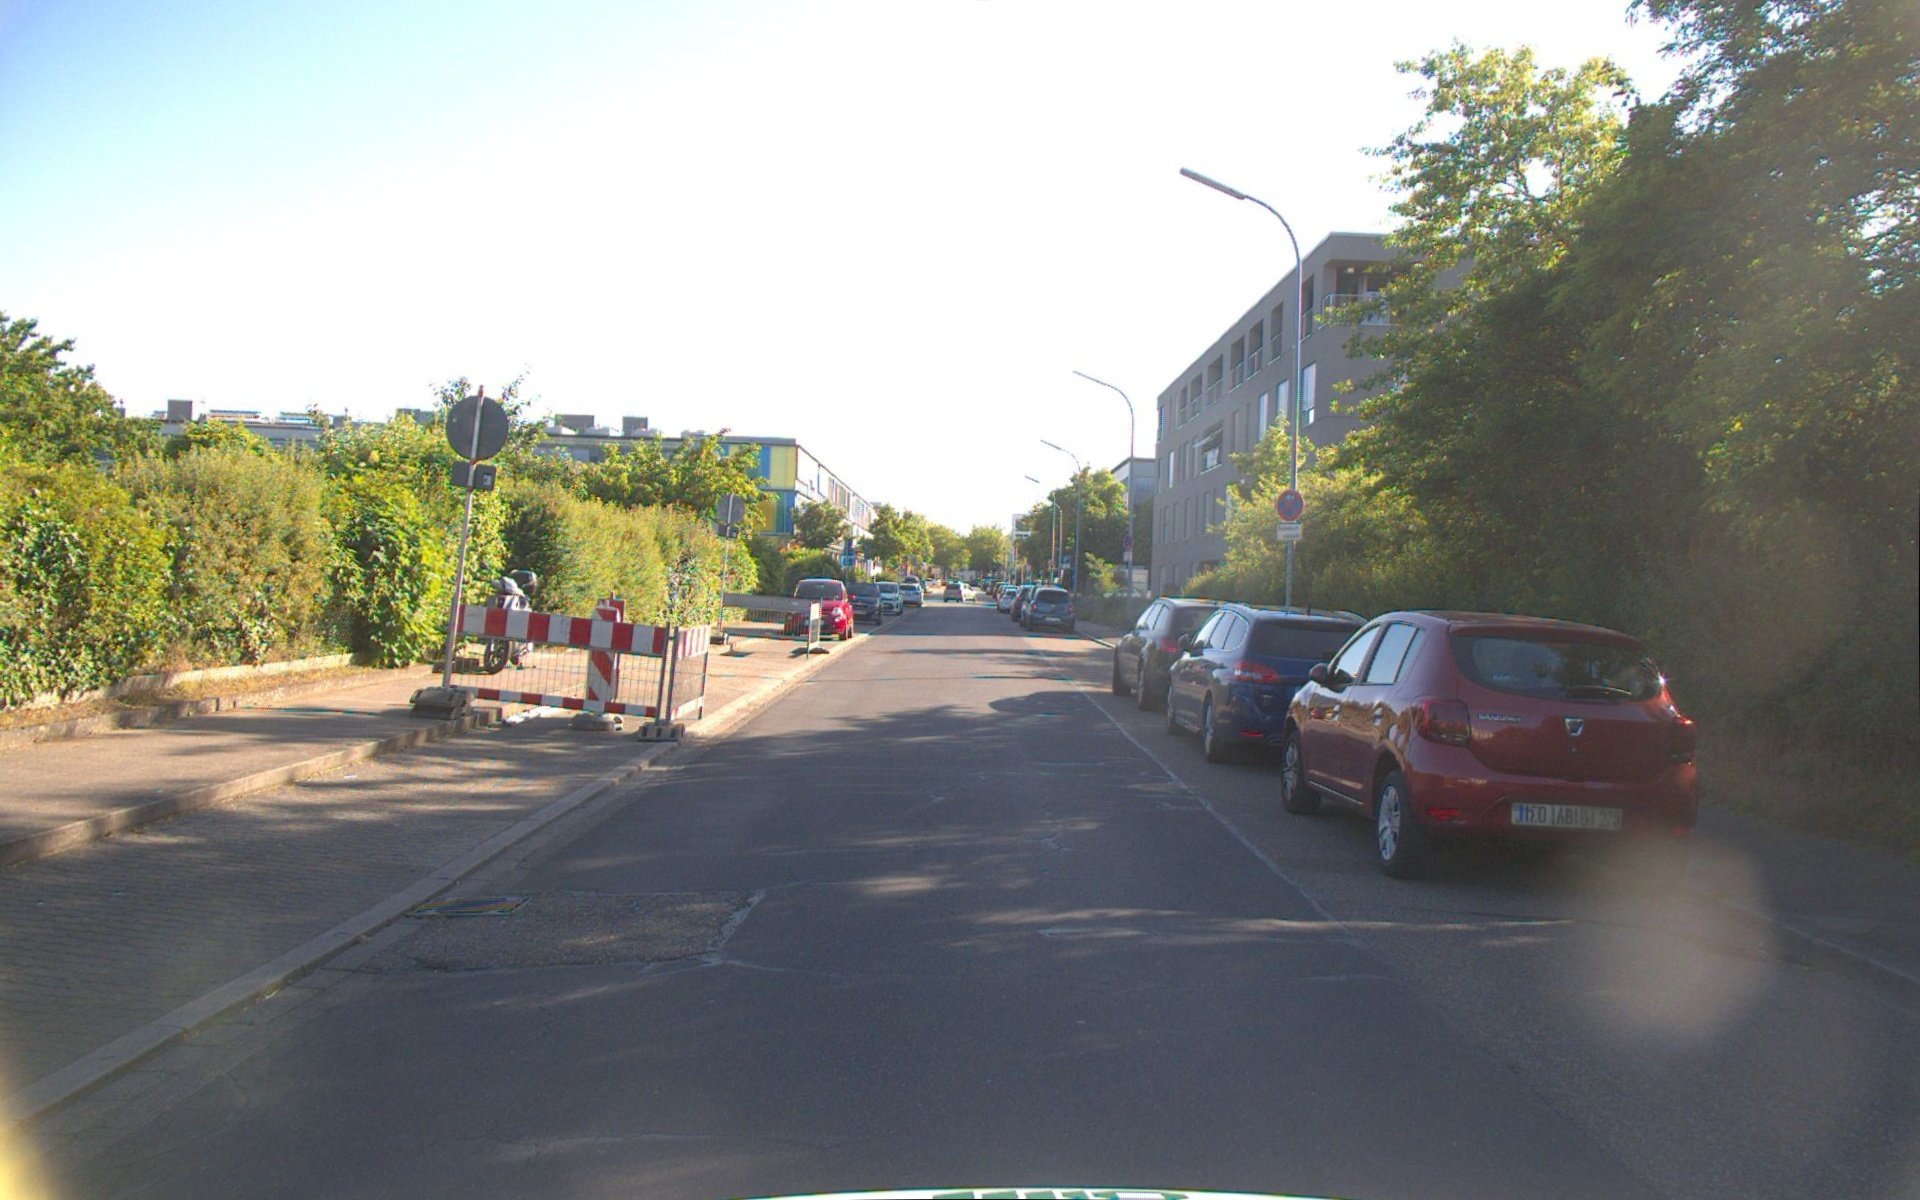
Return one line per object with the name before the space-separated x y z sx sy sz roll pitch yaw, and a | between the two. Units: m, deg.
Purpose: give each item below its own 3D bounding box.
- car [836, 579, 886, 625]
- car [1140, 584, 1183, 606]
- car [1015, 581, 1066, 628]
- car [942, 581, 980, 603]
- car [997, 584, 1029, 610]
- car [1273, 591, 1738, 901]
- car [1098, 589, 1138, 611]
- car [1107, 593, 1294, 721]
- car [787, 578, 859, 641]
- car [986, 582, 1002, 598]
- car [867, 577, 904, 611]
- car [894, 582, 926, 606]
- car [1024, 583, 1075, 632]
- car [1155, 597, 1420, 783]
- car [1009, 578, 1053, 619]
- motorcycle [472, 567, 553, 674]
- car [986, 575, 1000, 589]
car | -3.594 0.067 60.699 1.528 1.520 3.570 4 1 0
car | 15.678 -0.410 128.911 3.149 1.486 1.450 3 0 3
car | 3.090 0.137 64.132 1.642 1.636 4.178 4 1 -1
car | 0.064 -0.622 131.062 1.656 1.576 3.612 4 1 23
car | 3.138 -0.190 98.194 1.706 1.453 4.134 3 1 0
car | 3.266 0.770 10.720 1.621 1.512 3.838 4 1 -1
car | 13.061 0.008 136.990 3.149 1.576 1.450 3 0 3
car | 3.186 0.698 22.796 1.718 1.438 4.655 4 1 -1
car | -3.461 0.211 42.333 1.528 1.521 3.570 1 1 0
car | 3.488 -1.029 168.831 1.416 1.576 3.614 3 1 -1
car | -3.471 -0.286 77.744 1.528 1.521 3.758 1 1 0
car | -3.218 -0.401 107.083 1.817 1.453 4.134 3 1 0
car | 3.154 0.234 58.756 1.589 1.553 3.902 4 1 1
car | 3.133 0.783 16.760 1.621 1.469 4.656 4 1 -1
car | 3.160 -0.090 74.254 1.706 1.653 4.179 3 1 0
motorcycle | -5.785 0.250 21.491 0.555 1.290 2.089 3 0 -4
car | 3.869 -2.085 194.238 1.416 1.576 3.614 3 1 -1
